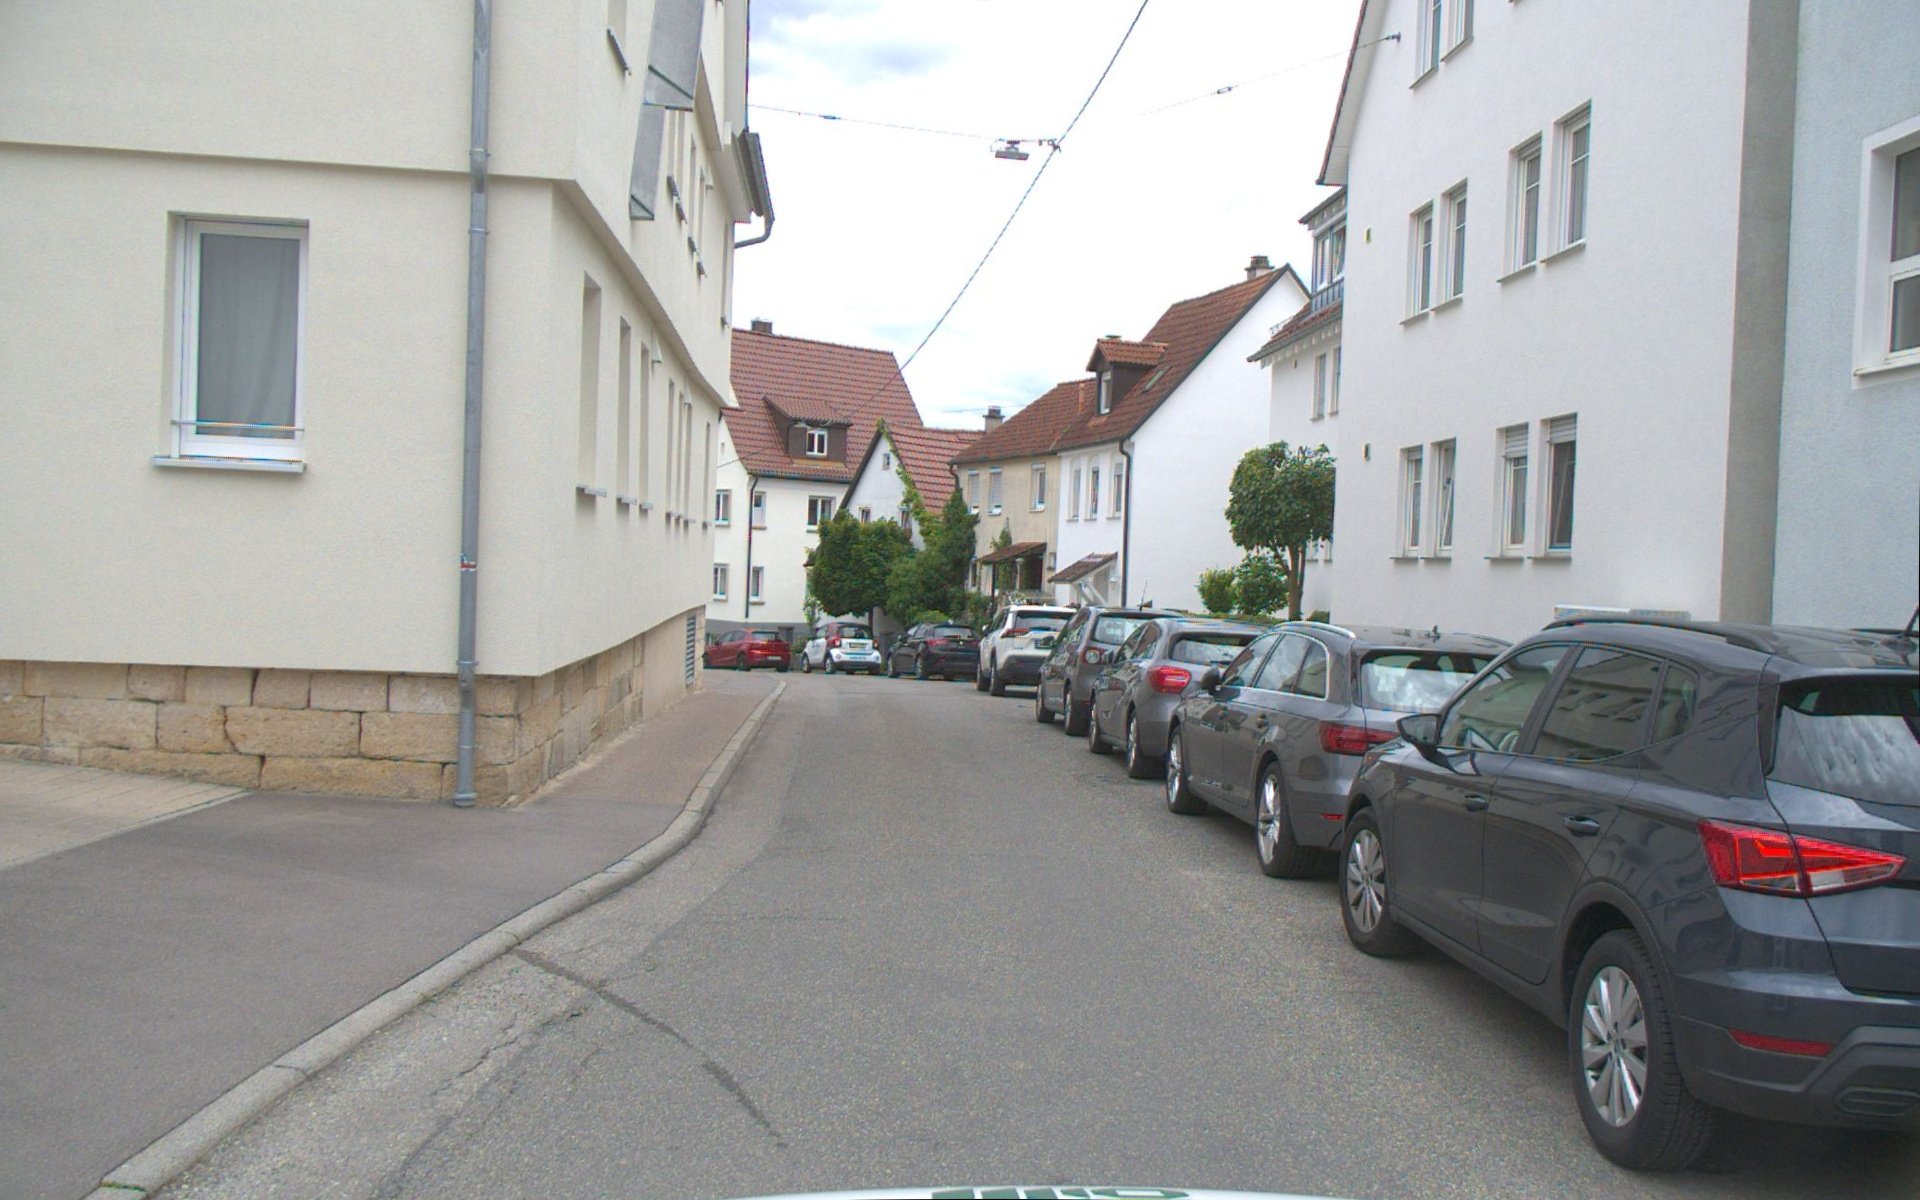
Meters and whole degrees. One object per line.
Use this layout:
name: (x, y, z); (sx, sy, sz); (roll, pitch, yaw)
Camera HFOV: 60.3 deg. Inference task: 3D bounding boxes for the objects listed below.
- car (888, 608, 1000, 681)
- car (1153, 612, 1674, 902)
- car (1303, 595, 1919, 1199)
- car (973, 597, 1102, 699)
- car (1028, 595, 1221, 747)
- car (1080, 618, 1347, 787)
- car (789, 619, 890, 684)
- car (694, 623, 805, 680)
car: (-0.465, 1.140, 41.917); (1.960, 1.743, 3.984); (1, -2, -14)
car: (2.578, 0.815, 10.696); (1.880, 1.434, 4.653); (0, 0, -3)
car: (2.639, 0.867, 5.970); (1.718, 1.656, 4.534); (3, 0, -1)
car: (1.395, 0.882, 31.245); (1.837, 1.743, 4.143); (2, -1, -5)
car: (2.004, 0.856, 21.237); (1.702, 1.638, 3.996); (5, -1, -4)
car: (2.298, 0.906, 16.028); (1.761, 1.376, 4.072); (2, -1, -3)
car: (-3.740, 1.563, 50.793); (1.935, 1.743, 3.974); (2, 0, -22)
car: (-7.151, 1.746, 55.967); (1.979, 1.713, 3.947); (-4, 0, -37)
